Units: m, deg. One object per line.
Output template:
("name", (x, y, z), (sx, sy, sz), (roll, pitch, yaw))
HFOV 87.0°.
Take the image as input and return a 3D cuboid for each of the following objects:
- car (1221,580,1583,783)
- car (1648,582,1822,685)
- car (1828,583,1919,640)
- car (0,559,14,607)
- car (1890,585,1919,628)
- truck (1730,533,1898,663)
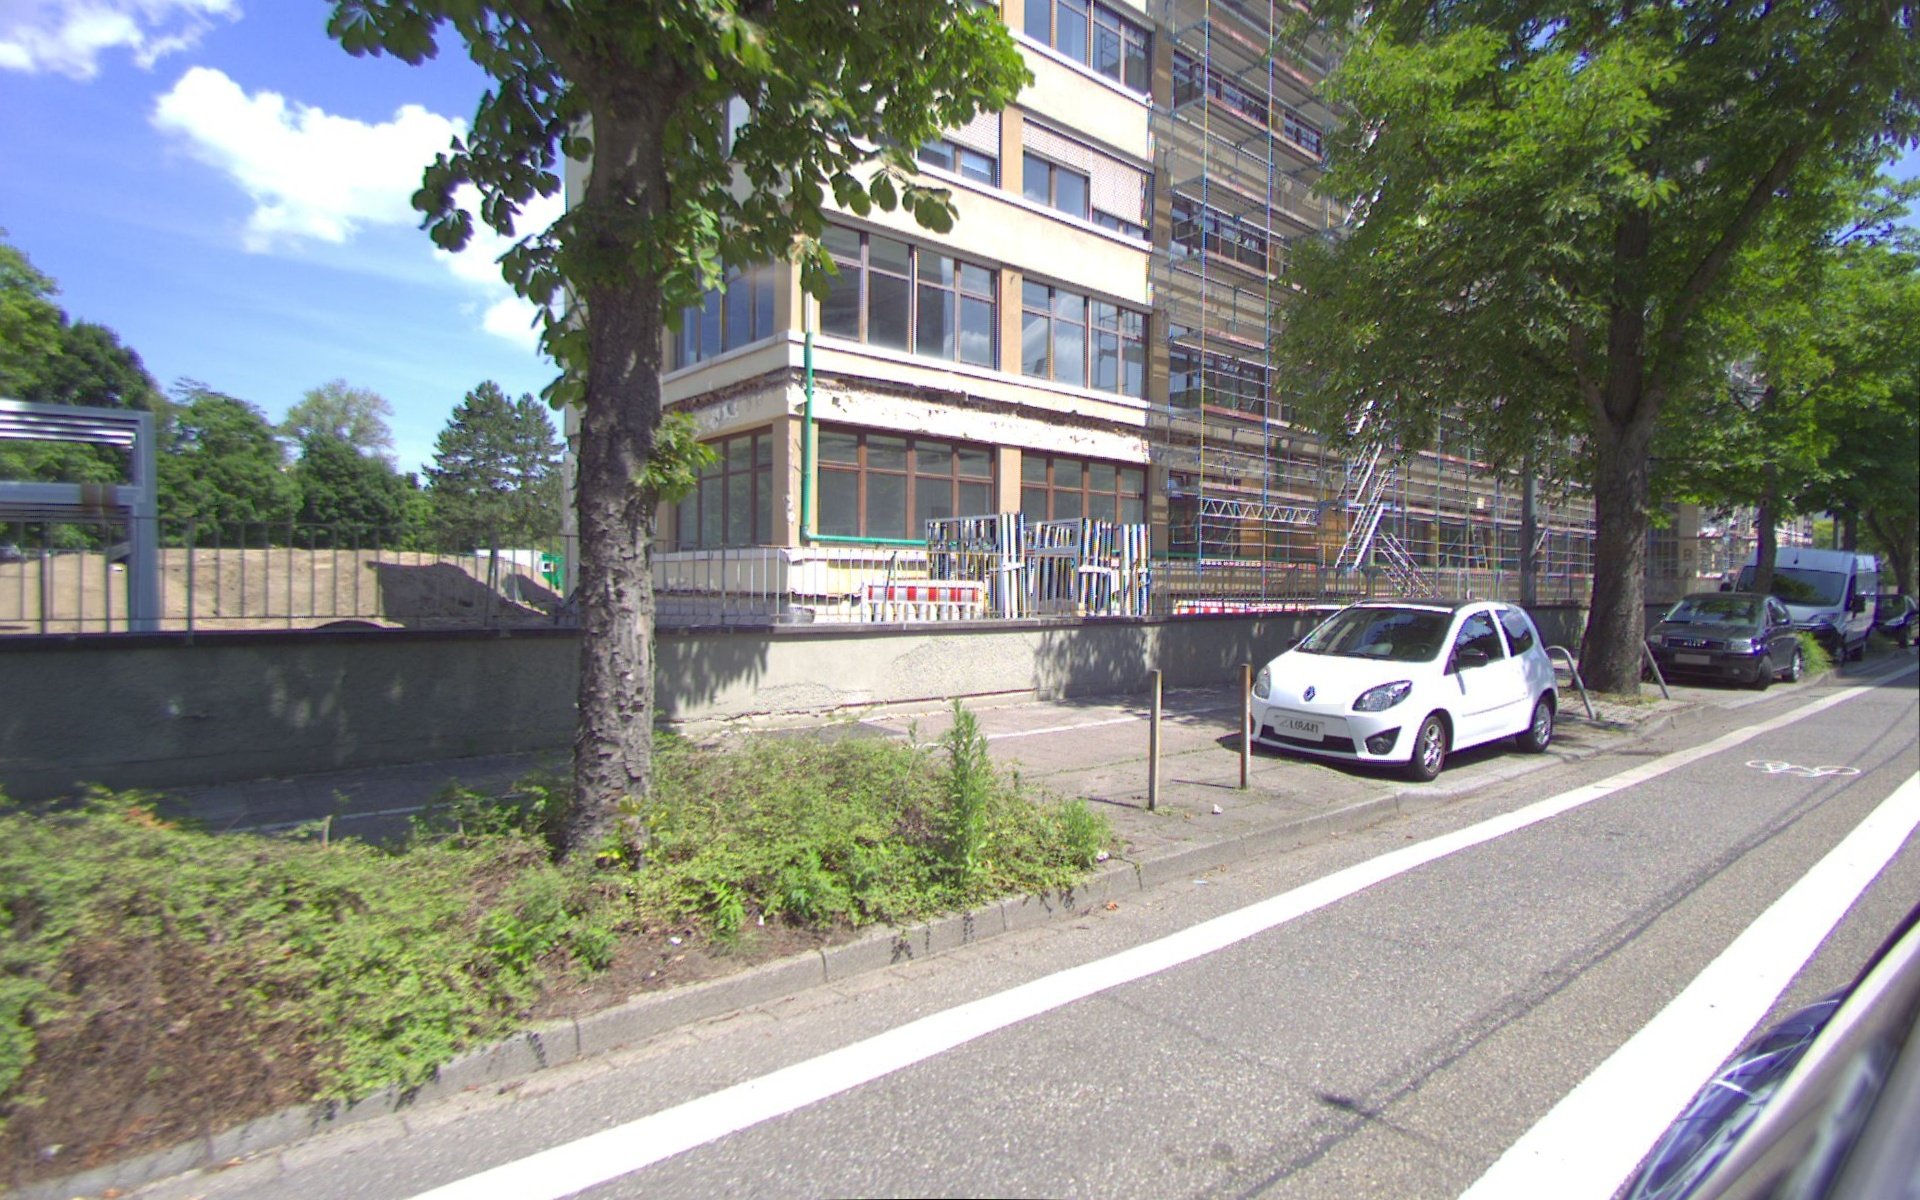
("car", (4.289, 0.605, 9.604), (3.717, 1.553, 1.648), (0, 1, -40))
("car", (13.366, 0.490, 17.383), (3.878, 1.553, 1.647), (0, 1, -41))
("car", (26.722, 0.288, 29.146), (4.320, 1.490, 1.829), (0, 1, -38))
("car", (-42.702, -0.710, 42.455), (3.916, 2.039, 2.004), (0, 0, -14))
("car", (34.876, 0.226, 36.192), (4.406, 1.490, 1.828), (0, 1, -40))
("truck", (18.978, -0.074, 22.385), (5.853, 2.520, 2.018), (0, 1, -42))
